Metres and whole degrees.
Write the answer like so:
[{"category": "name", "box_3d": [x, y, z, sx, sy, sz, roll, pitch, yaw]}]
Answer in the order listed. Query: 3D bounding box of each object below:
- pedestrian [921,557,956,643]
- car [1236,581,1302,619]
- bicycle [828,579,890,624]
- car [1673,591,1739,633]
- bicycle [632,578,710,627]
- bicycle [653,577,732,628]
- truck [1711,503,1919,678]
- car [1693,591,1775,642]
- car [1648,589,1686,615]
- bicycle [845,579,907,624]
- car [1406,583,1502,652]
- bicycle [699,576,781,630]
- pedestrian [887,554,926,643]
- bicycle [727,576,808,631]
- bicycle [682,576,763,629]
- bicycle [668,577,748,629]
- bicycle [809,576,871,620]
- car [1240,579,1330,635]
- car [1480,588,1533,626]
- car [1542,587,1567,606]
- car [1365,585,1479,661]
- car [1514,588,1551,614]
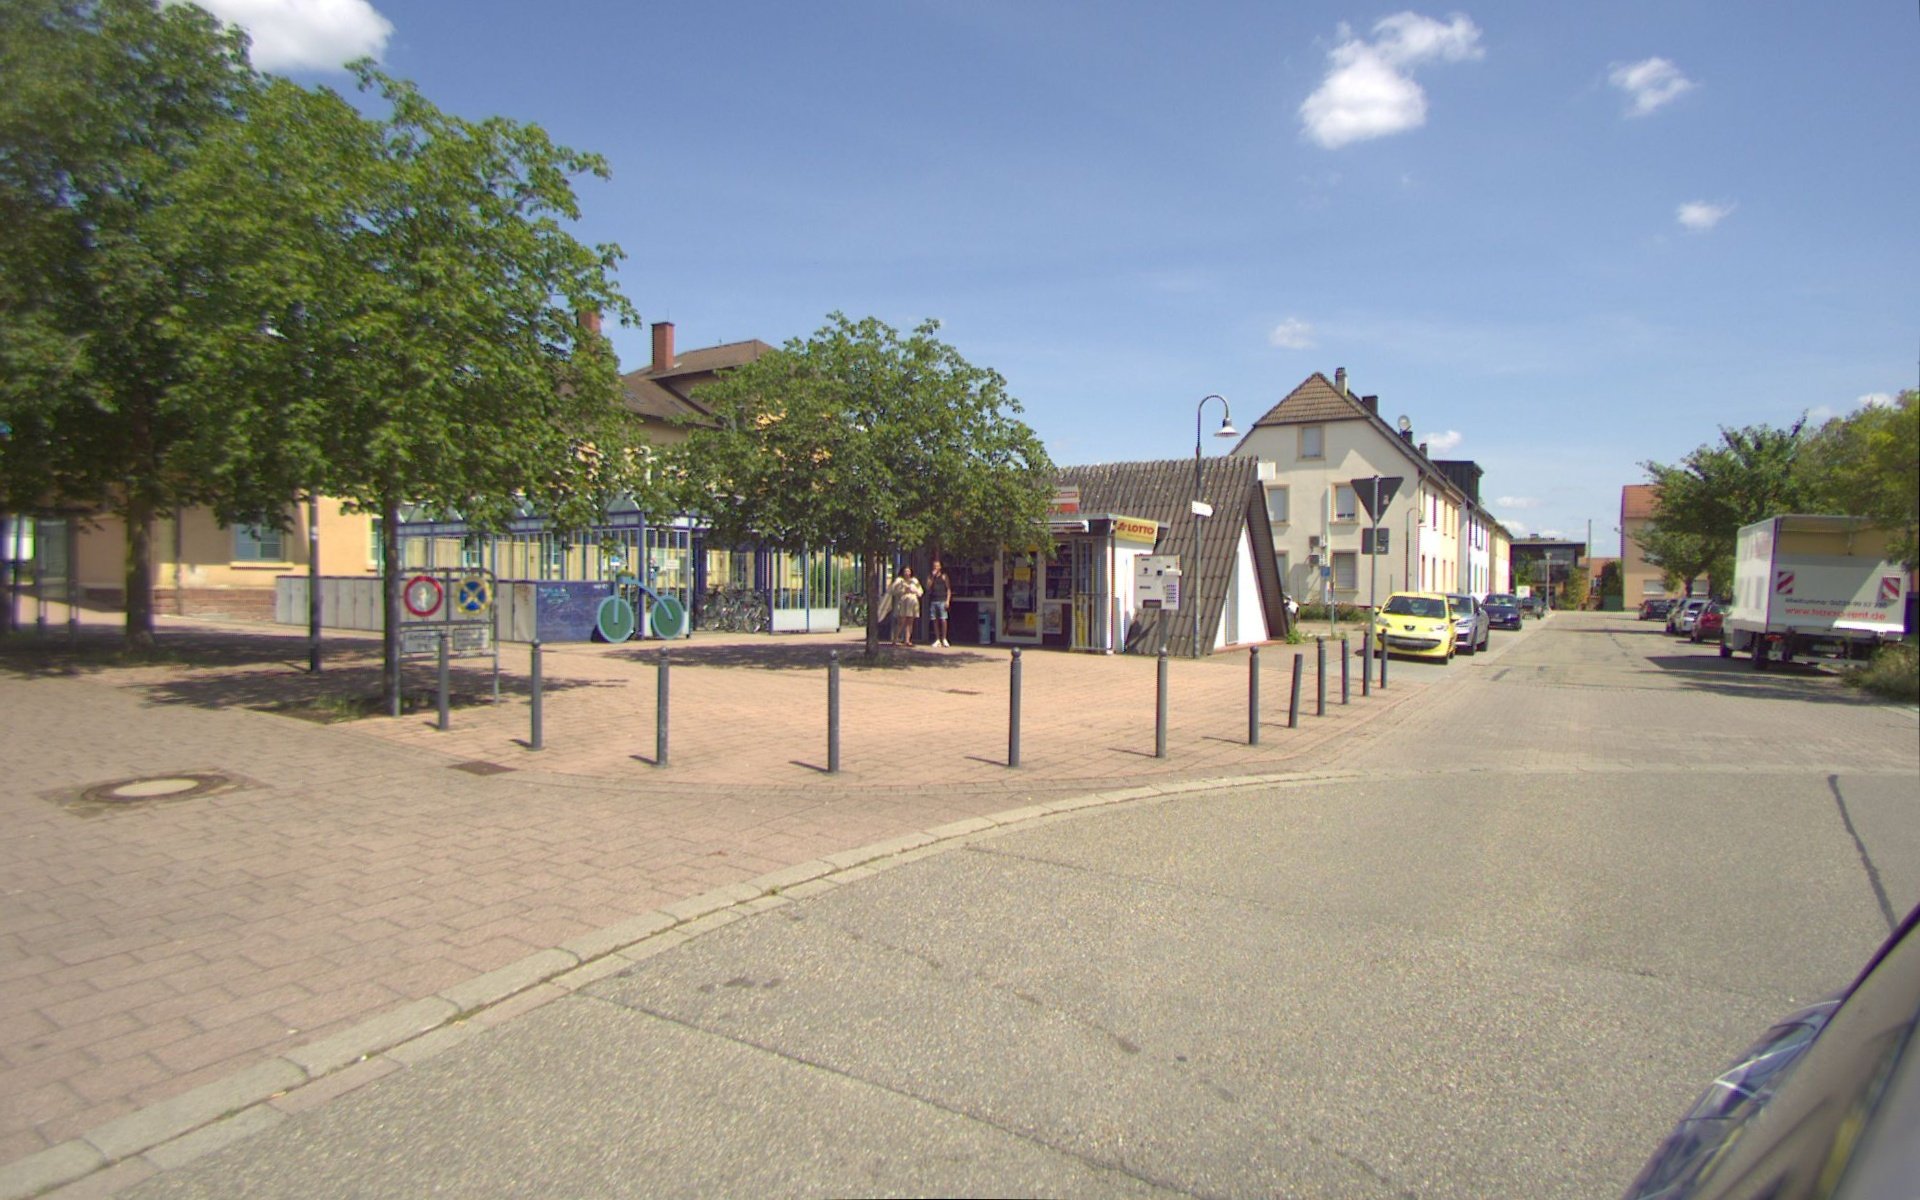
[{"category": "pedestrian", "box_3d": [-0.451, -0.002, 20.995, 0.585, 1.741, 0.465, 1, 1, -16]}, {"category": "car", "box_3d": [11.998, -0.021, 39.193, 1.496, 1.325, 3.468, 5, 3, 32]}, {"category": "bicycle", "box_3d": [-3.218, 0.041, 32.396, 0.602, 1.367, 2.323, 1, 1, 35]}, {"category": "car", "box_3d": [29.578, 0.432, 40.225, 1.709, 1.518, 4.168, 4, 2, 32]}, {"category": "bicycle", "box_3d": [-8.327, 0.055, 29.269, 0.602, 1.367, 2.323, 1, 1, 35]}, {"category": "bicycle", "box_3d": [-7.511, 0.058, 28.524, 0.602, 1.367, 2.323, 1, 1, 35]}, {"category": "truck", "box_3d": [19.214, -0.269, 23.021, 2.426, 3.285, 6.962, 5, 3, 30]}, {"category": "car", "box_3d": [26.294, 0.515, 34.503, 1.709, 1.518, 4.168, 4, 2, 32]}, {"category": "car", "box_3d": [45.602, 0.116, 65.360, 1.709, 1.518, 4.168, 4, 2, 32]}, {"category": "bicycle", "box_3d": [-2.636, 0.037, 31.924, 0.602, 1.367, 2.323, 1, 1, 35]}, {"category": "car", "box_3d": [13.048, 0.396, 26.595, 1.710, 1.518, 4.166, 5, 3, 32]}, {"category": "bicycle", "box_3d": [-5.815, 0.065, 26.869, 0.602, 1.367, 2.323, 1, 1, 35]}, {"category": "pedestrian", "box_3d": [-1.106, -0.031, 20.800, 0.666, 1.811, 0.550, 1, 1, -16]}, {"category": "bicycle", "box_3d": [-5.042, 0.071, 26.615, 0.602, 1.367, 2.323, 1, 1, 35]}, {"category": "bicycle", "box_3d": [-6.385, 0.063, 27.392, 0.602, 1.367, 2.323, 1, 1, 35]}, {"category": "bicycle", "box_3d": [-6.937, 0.060, 28.028, 0.602, 1.367, 2.323, 1, 1, 35]}, {"category": "bicycle", "box_3d": [-3.885, -0.074, 32.852, 0.602, 1.367, 2.323, 1, 1, 35]}, {"category": "car", "box_3d": [9.070, 0.158, 28.100, 1.496, 1.325, 3.468, 5, 3, 32]}, {"category": "car", "box_3d": [24.713, 0.276, 45.670, 1.710, 1.518, 4.166, 5, 3, 32]}, {"category": "car", "box_3d": [52.668, -0.291, 89.608, 1.710, 1.518, 4.166, 5, 3, 32]}, {"category": "car", "box_3d": [10.555, 0.450, 22.957, 1.710, 1.415, 4.166, 5, 3, 32]}, {"category": "car", "box_3d": [36.474, 0.035, 64.429, 1.710, 1.518, 4.166, 5, 3, 32]}]
